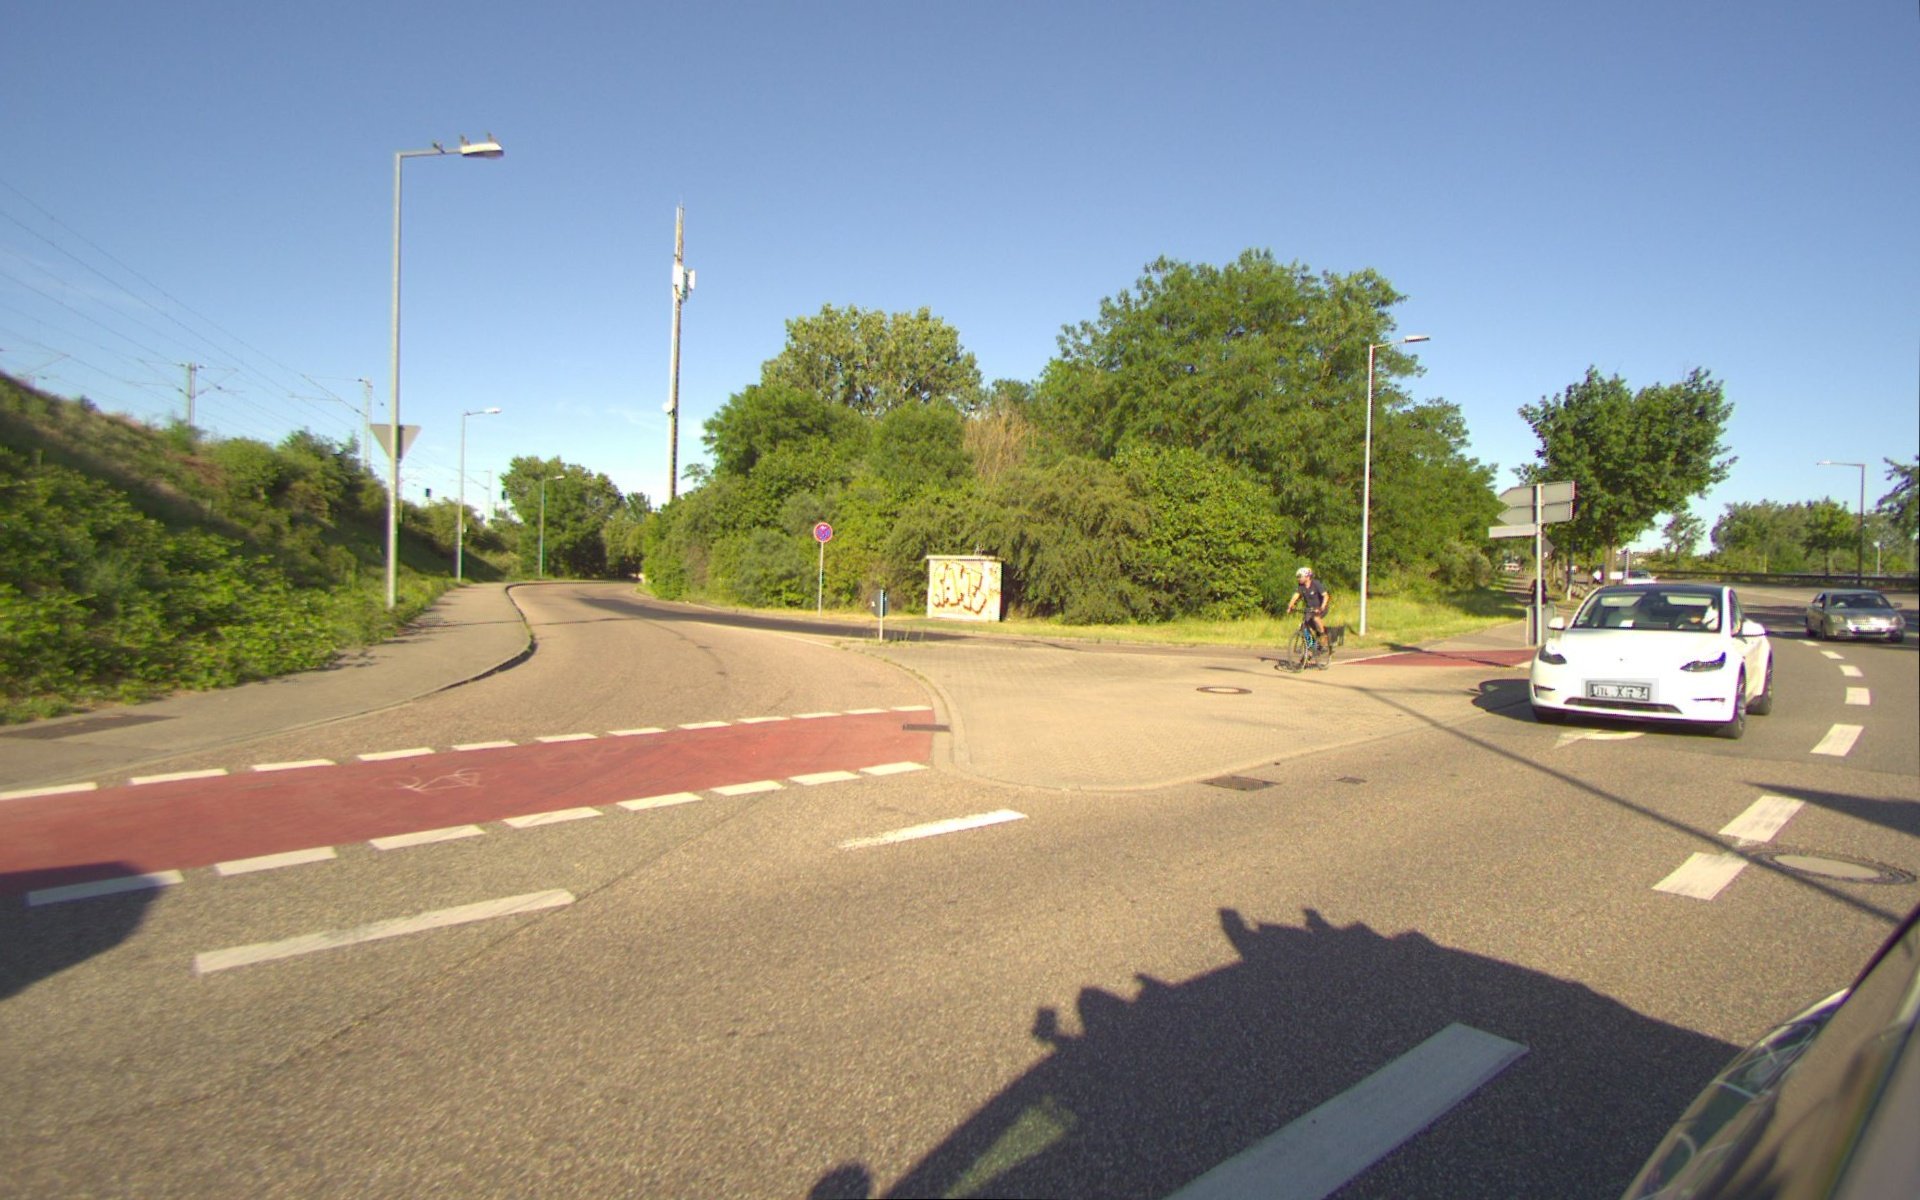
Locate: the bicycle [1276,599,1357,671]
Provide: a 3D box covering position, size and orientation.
[{"bbox_3d":[6.299,0.586,17.812,0.694,1.108,2.089,4,4,37],"label":"bicycle"}]

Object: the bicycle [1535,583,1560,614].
[{"bbox_3d":[22.460,-0.081,38.723,0.697,1.087,1.903,3,3,28],"label":"bicycle"}]

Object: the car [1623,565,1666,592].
[{"bbox_3d":[46.207,-1.482,68.366,2.136,1.586,4.151,5,4,32],"label":"car"}]

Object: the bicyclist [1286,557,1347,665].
[{"bbox_3d":[6.260,0.169,17.769,0.674,1.798,0.935,4,3,38],"label":"bicyclist"}]

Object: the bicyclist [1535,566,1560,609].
[{"bbox_3d":[22.472,-0.494,38.708,0.703,1.597,0.995,3,3,28],"label":"bicyclist"}]

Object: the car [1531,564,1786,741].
[{"bbox_3d":[8.442,0.432,12.064,1.913,1.661,4.343,2,3,42],"label":"car"}]

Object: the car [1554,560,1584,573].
[{"bbox_3d":[70.972,-3.912,117.983,1.709,1.402,4.481,0,2,12],"label":"car"}]

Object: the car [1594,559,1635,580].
[{"bbox_3d":[53.491,-2.474,82.800,1.976,1.738,4.242,1,1,21],"label":"car"}]

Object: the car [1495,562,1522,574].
[{"bbox_3d":[70.410,-4.107,129.942,1.739,1.507,4.266,0,2,10],"label":"car"}]

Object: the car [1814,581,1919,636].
[{"bbox_3d":[26.153,0.209,29.284,1.671,1.459,3.814,0,1,32],"label":"car"}]
